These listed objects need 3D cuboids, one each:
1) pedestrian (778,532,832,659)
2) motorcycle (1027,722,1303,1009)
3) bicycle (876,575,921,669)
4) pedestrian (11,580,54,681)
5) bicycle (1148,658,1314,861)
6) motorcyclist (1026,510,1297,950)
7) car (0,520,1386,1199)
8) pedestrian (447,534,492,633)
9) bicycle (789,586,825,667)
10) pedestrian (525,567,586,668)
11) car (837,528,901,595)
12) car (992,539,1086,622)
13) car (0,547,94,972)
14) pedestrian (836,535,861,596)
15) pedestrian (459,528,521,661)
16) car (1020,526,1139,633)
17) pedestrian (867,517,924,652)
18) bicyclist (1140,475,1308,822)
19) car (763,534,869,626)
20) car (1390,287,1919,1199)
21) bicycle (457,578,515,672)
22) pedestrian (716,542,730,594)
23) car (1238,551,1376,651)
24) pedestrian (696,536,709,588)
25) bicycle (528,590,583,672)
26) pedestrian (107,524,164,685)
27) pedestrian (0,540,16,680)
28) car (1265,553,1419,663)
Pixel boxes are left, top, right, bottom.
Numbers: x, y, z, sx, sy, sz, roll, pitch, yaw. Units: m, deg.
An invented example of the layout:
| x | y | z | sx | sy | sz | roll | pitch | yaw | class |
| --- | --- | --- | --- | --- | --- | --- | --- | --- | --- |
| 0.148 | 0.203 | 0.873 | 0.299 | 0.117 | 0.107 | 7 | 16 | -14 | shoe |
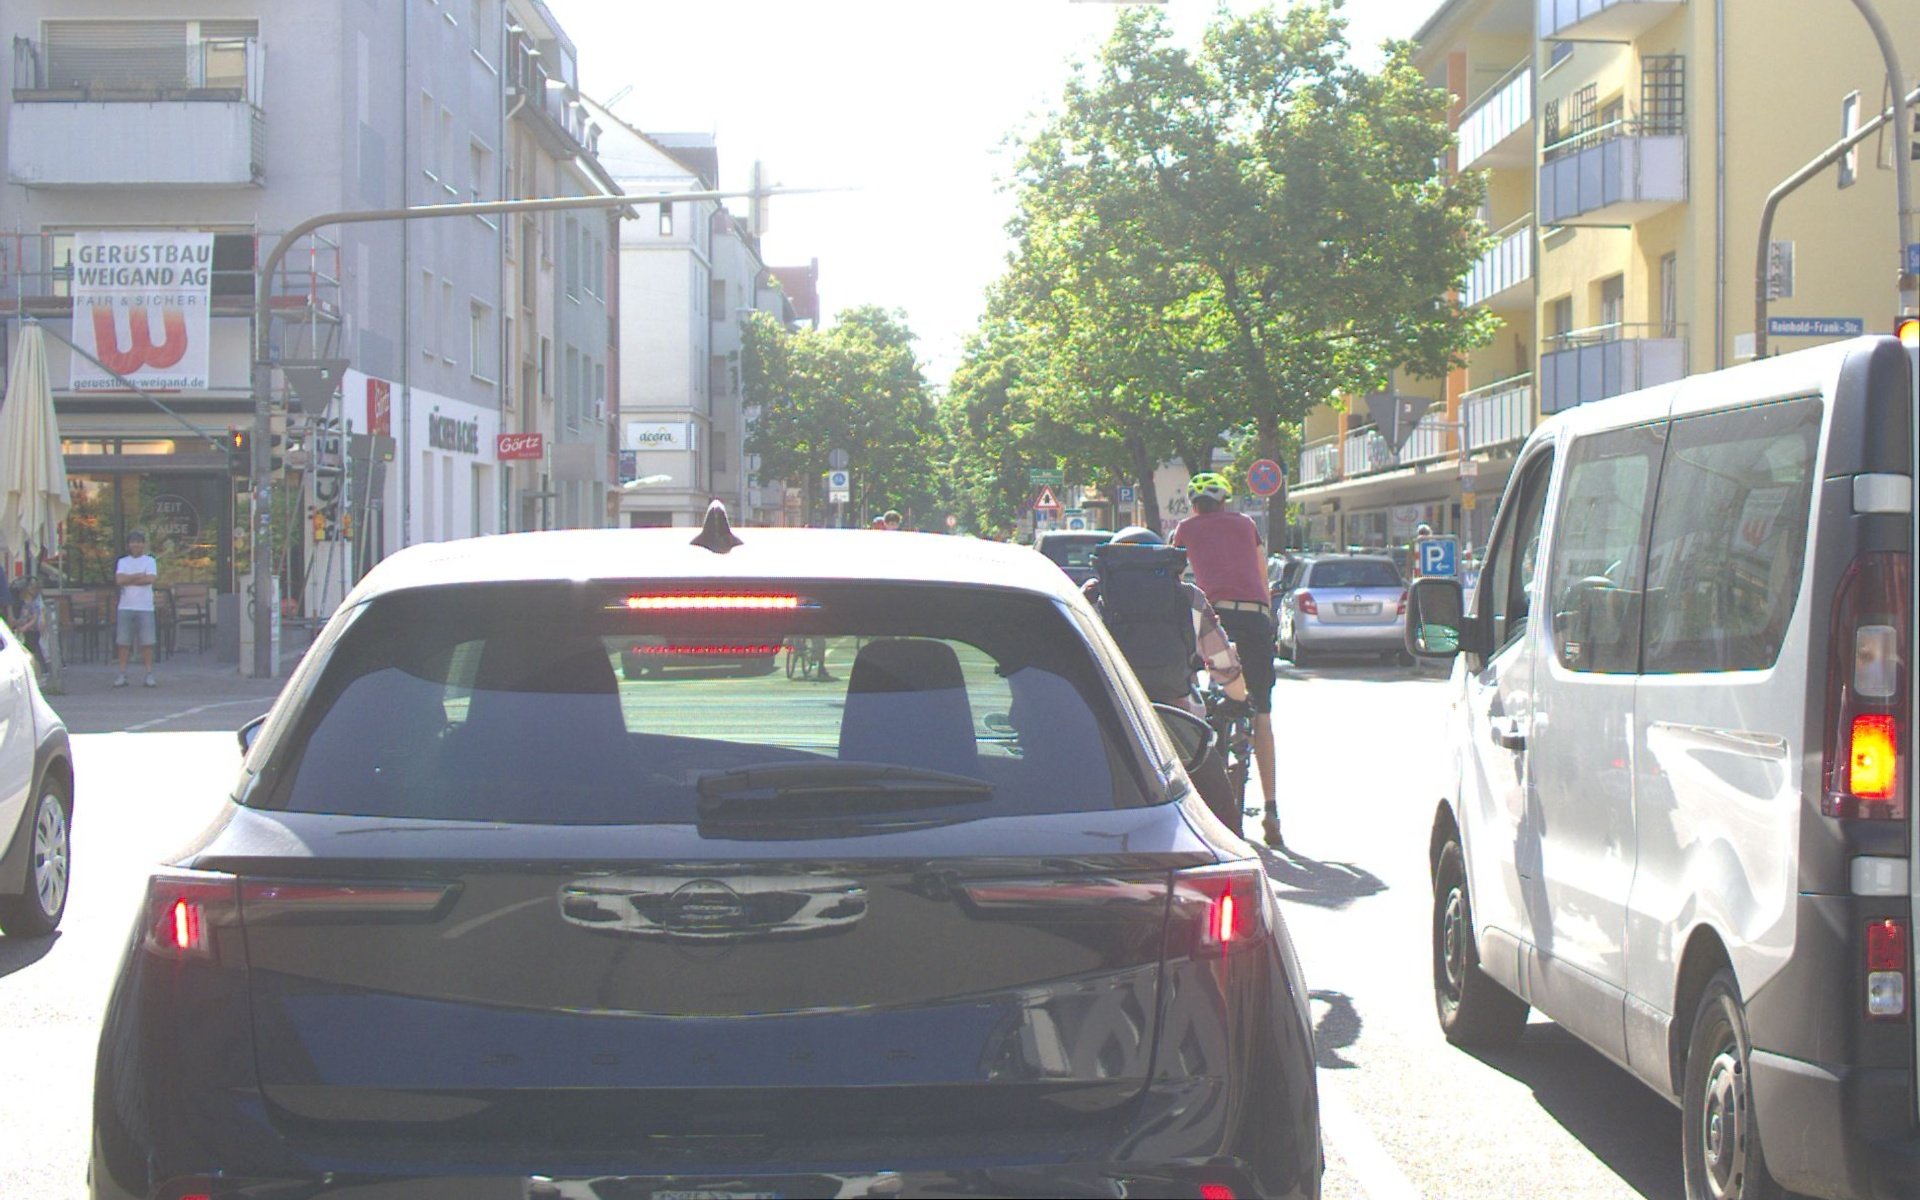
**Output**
| x | y | z | sx | sy | sz | roll | pitch | yaw | class |
| --- | --- | --- | --- | --- | --- | --- | --- | --- | --- |
| -1.971 | -0.068 | 43.764 | 0.680 | 1.600 | 0.762 | 0 | 1 | -2 | pedestrian |
| 0.687 | 0.901 | 12.170 | 0.825 | 0.842 | 1.885 | 0 | 1 | -1 | motorcycle |
| -0.793 | 0.269 | 43.731 | 0.521 | 1.143 | 2.170 | 0 | 1 | -2 | bicycle |
| -10.108 | 0.332 | 37.467 | 0.355 | 1.088 | 0.462 | 0 | 1 | -3 | pedestrian |
| 1.369 | 0.789 | 17.699 | 0.577 | 0.901 | 2.301 | 0 | 1 | -2 | bicycle |
| 0.697 | 0.434 | 12.294 | 0.864 | 1.497 | 1.160 | 0 | 1 | -2 | motorcyclist |
| -0.425 | 0.627 | 6.362 | 1.770 | 1.525 | 4.001 | 0 | 1 | -2 | car |
| -7.504 | -0.259 | 52.613 | 0.617 | 1.516 | 0.725 | 0 | 1 | -3 | pedestrian |
| -1.956 | 0.324 | 43.939 | 0.443 | 0.989 | 2.069 | 0 | 1 | -2 | bicycle |
| -5.113 | 0.216 | 43.515 | 0.707 | 1.249 | 0.802 | 0 | 1 | -2 | pedestrian |
| -2.736 | -1.172 | 104.093 | 1.855 | 2.007 | 3.881 | 0 | 1 | -1 | car |
| 1.658 | -0.441 | 73.216 | 1.902 | 1.722 | 4.000 | 0 | 1 | 0 | car |
| -4.336 | 0.584 | 11.993 | 1.765 | 1.531 | 3.786 | 0 | 1 | -2 | car |
| -3.110 | -0.973 | 95.560 | 0.570 | 1.684 | 0.587 | 0 | 1 | 12 | pedestrian |
| -5.983 | -0.073 | 43.796 | 0.707 | 1.672 | 0.802 | 0 | 1 | -2 | pedestrian |
| 1.960 | -0.372 | 57.287 | 1.902 | 1.722 | 4.073 | 0 | 1 | 1 | car |
| -0.821 | -0.204 | 43.596 | 0.707 | 1.695 | 0.802 | 0 | 1 | -2 | pedestrian |
| 1.336 | 0.226 | 17.614 | 0.689 | 1.707 | 1.414 | 0 | 1 | -2 | bicyclist |
| -2.778 | -0.416 | 66.841 | 1.825 | 1.722 | 4.000 | 0 | 1 | 1 | car |
| 2.446 | 0.422 | 8.512 | 1.993 | 1.972 | 4.896 | 2 | 1 | -1 | car |
| -6.043 | 0.308 | 43.915 | 0.521 | 1.143 | 2.284 | 0 | 1 | -2 | bicycle |
| -7.597 | -1.035 | 110.225 | 0.402 | 1.669 | 0.418 | 0 | 1 | -1 | pedestrian |
| 5.210 | -0.015 | 52.010 | 1.634 | 1.428 | 4.000 | 0 | 1 | -1 | car |
| -8.273 | -1.228 | 110.461 | 0.402 | 1.669 | 0.418 | 0 | 1 | -1 | pedestrian |
| -5.171 | 0.388 | 43.986 | 0.521 | 0.989 | 2.340 | 0 | 1 | -2 | bicycle |
| -9.138 | 0.047 | 38.110 | 0.561 | 1.769 | 0.584 | 0 | 1 | -9 | pedestrian |
| -10.673 | 0.102 | 37.535 | 0.584 | 1.516 | 0.650 | 0 | 1 | -3 | pedestrian |
| 5.208 | 0.082 | 47.263 | 1.634 | 1.428 | 3.957 | 0 | 1 | -1 | car |
